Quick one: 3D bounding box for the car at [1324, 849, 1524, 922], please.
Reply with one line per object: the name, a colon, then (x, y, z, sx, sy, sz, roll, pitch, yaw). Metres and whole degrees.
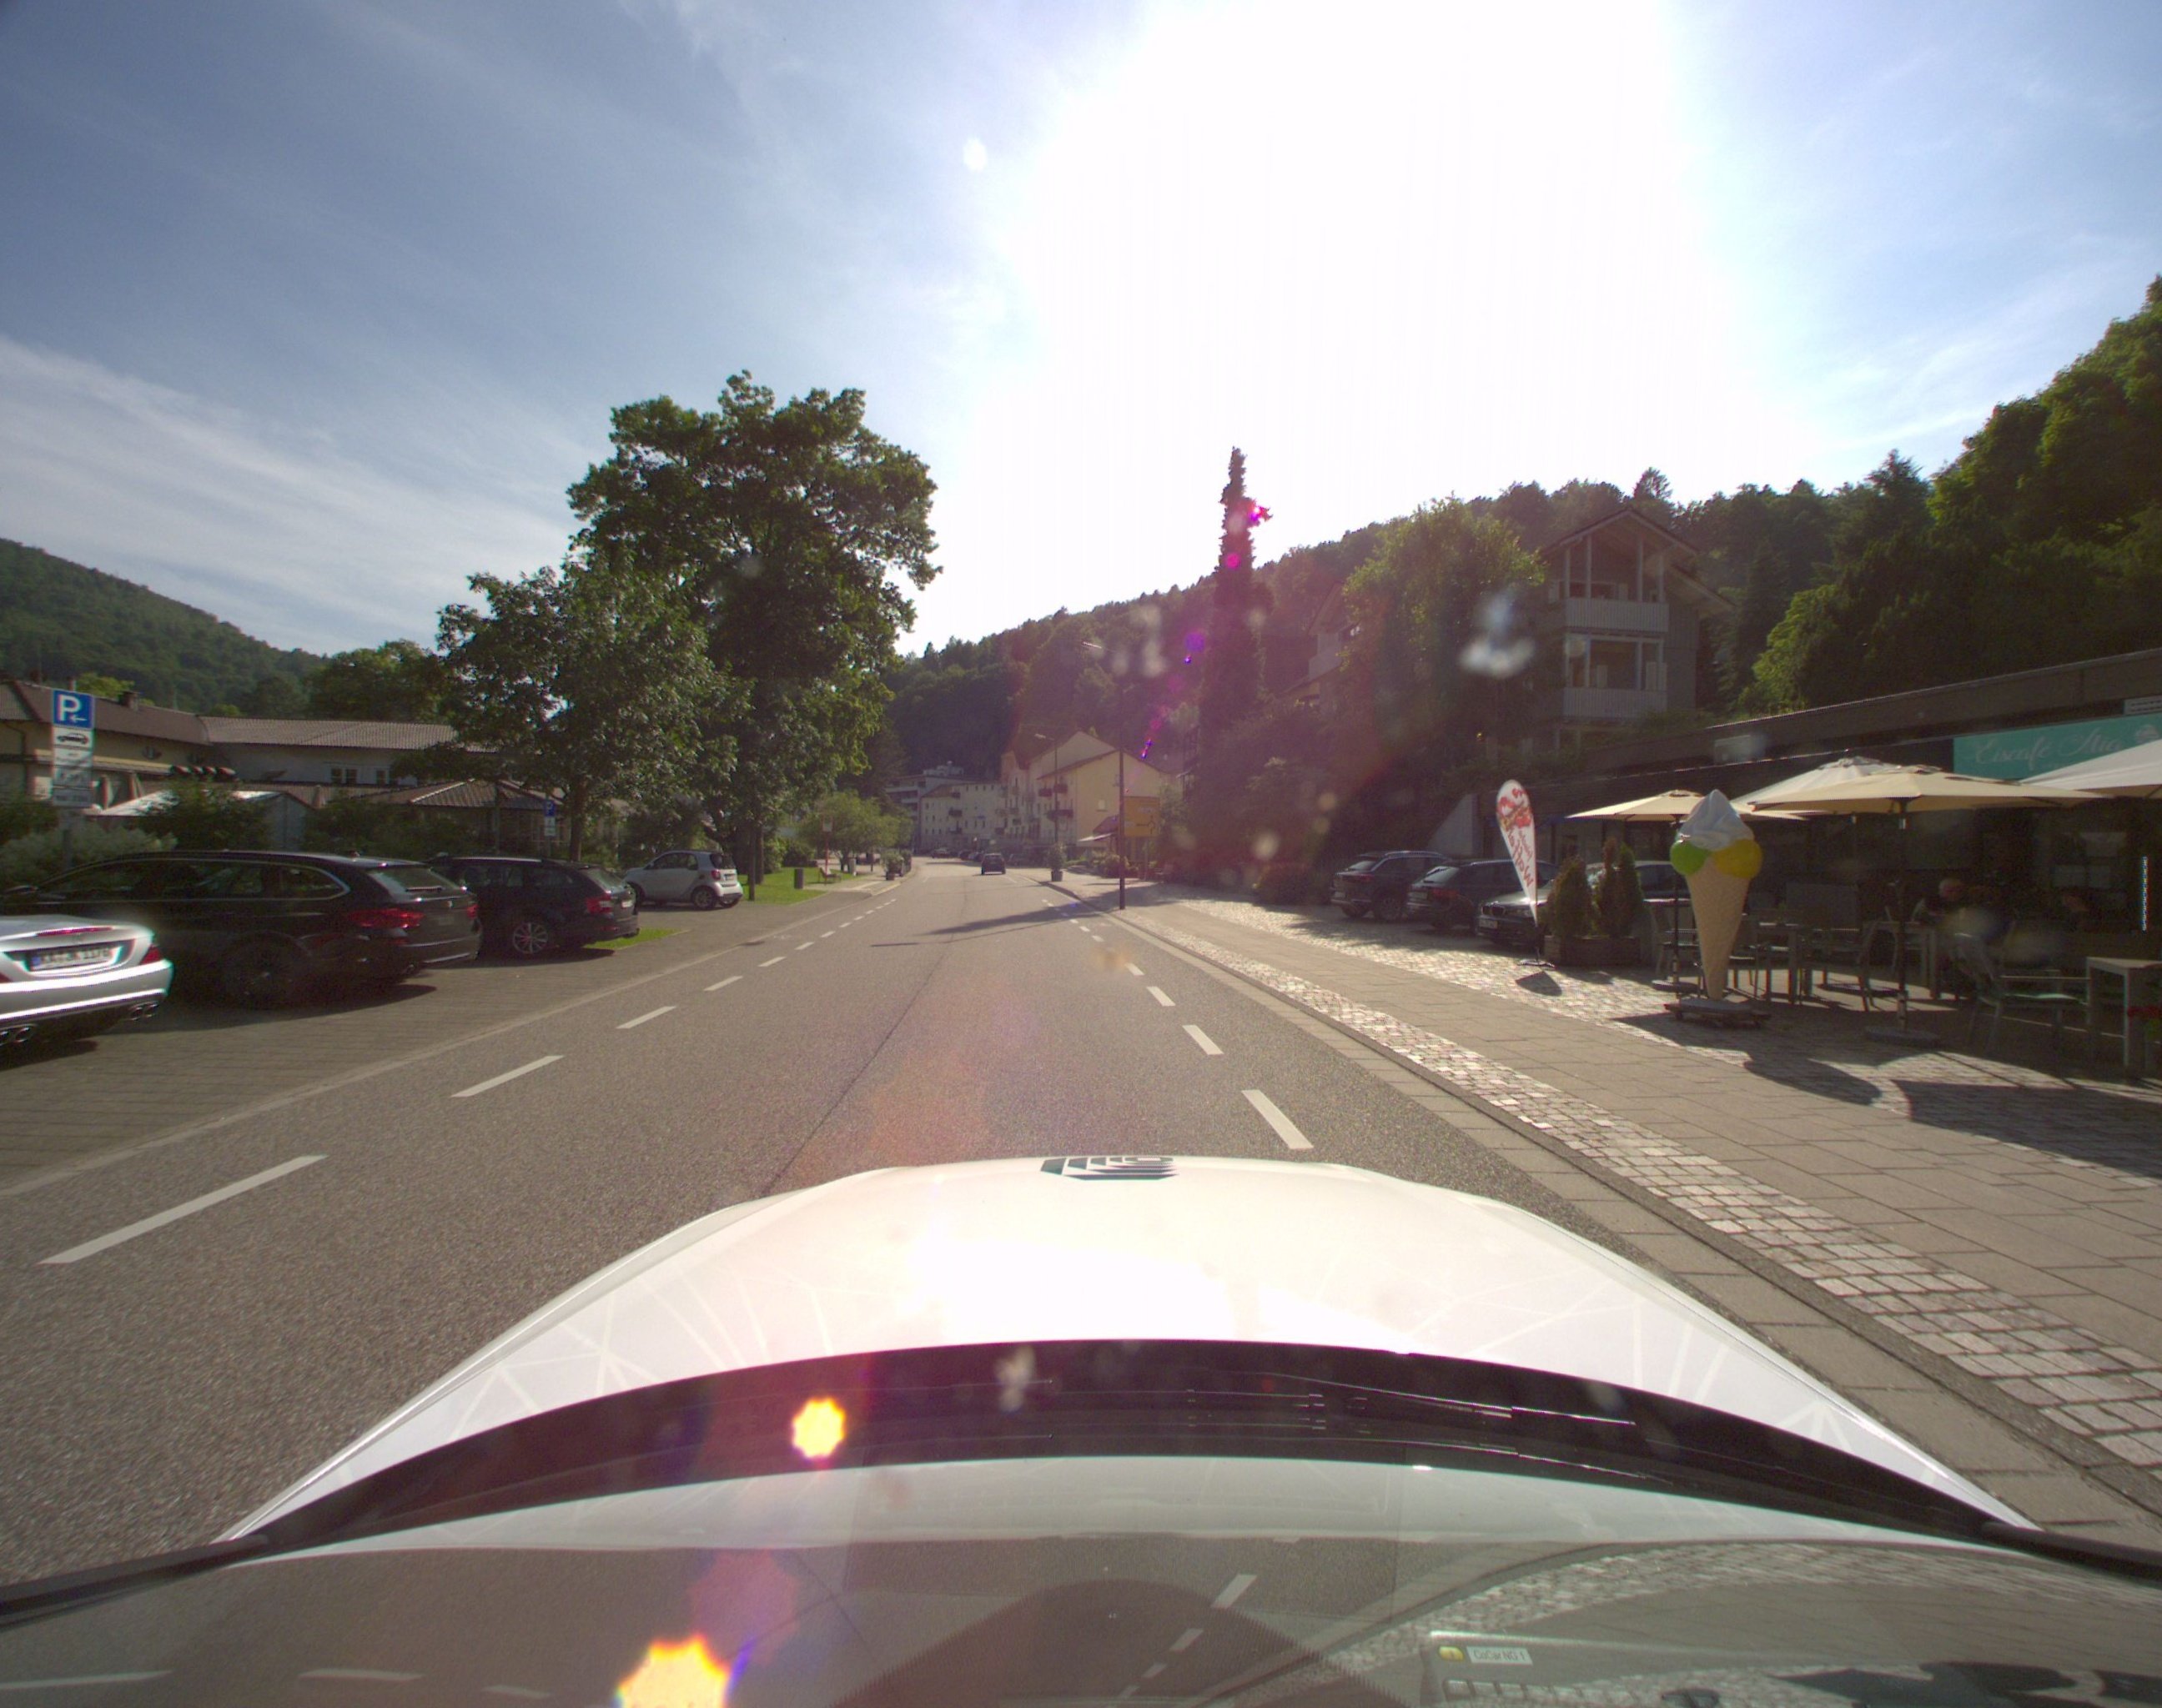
car: (7.723, 0.675, 18.543, 3.870, 1.580, 1.745, 0, 0, -6)

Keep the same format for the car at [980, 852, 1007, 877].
car: (-6.563, 0.760, 60.916, 1.727, 1.574, 3.740, 2, 1, -11)

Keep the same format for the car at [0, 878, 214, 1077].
car: (-9.018, 0.801, 5.651, 3.791, 1.243, 1.758, 1, -1, -8)

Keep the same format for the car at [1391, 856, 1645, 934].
car: (8.408, 0.757, 15.866, 4.103, 1.415, 1.745, 0, 0, -6)

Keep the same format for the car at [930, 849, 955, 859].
car: (-24.410, -0.002, 143.786, 4.009, 1.662, 1.982, -1, 1, -28)

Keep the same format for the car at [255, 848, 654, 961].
car: (-8.953, 0.729, 12.065, 4.279, 1.432, 1.705, 2, -1, -13)

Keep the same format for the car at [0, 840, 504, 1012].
car: (-8.925, 0.688, 8.404, 4.490, 1.510, 1.708, 2, 0, -8)

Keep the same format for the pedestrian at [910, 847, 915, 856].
pedestrian: (-32.458, -0.493, 156.767, 0.763, 1.594, 0.621, 2, 0, -39)

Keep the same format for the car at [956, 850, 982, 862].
car: (-18.514, 0.379, 134.538, 4.093, 1.666, 1.763, 4, -1, -17)

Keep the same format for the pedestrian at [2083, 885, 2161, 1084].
pedestrian: (7.391, 0.857, 5.385, 0.811, 1.261, 0.697, 0, 0, -15)

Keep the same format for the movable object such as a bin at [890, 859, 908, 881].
movable object such as a bin: (-12.858, 1.120, 57.567, 1.078, 1.427, 1.372, 3, 0, -10)

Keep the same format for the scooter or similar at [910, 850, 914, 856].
scooter or similar: (-32.544, -0.196, 156.862, 0.601, 0.950, 0.469, 2, 0, -40)

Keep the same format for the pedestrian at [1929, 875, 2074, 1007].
pedestrian: (9.546, 0.868, 8.488, 0.692, 1.261, 0.816, 0, 0, 20)

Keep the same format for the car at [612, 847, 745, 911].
car: (-10.685, 0.658, 21.781, 2.643, 1.547, 1.681, 2, -1, -1)

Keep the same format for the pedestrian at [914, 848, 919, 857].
pedestrian: (-31.929, -0.338, 157.984, 0.674, 1.728, 0.699, 2, 0, -39)

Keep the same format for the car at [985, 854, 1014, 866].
car: (-11.955, 0.851, 119.054, 3.918, 1.589, 1.765, 4, 0, -17)

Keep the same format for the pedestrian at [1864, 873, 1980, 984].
pedestrian: (10.209, 0.874, 9.923, 0.692, 1.261, 0.816, 0, 0, 20)

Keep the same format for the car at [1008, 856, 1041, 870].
car: (-7.364, 1.174, 105.966, 3.871, 1.554, 1.749, 3, -1, -20)

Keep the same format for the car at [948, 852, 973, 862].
car: (-21.090, 0.542, 142.222, 4.041, 1.516, 1.753, -2, 3, -37)

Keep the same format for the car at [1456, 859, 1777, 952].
car: (8.565, 0.771, 13.213, 4.256, 1.379, 1.706, 0, -1, -6)

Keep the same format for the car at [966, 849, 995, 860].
car: (-16.042, 0.114, 130.355, 4.363, 1.461, 1.763, 3, -2, -15)
